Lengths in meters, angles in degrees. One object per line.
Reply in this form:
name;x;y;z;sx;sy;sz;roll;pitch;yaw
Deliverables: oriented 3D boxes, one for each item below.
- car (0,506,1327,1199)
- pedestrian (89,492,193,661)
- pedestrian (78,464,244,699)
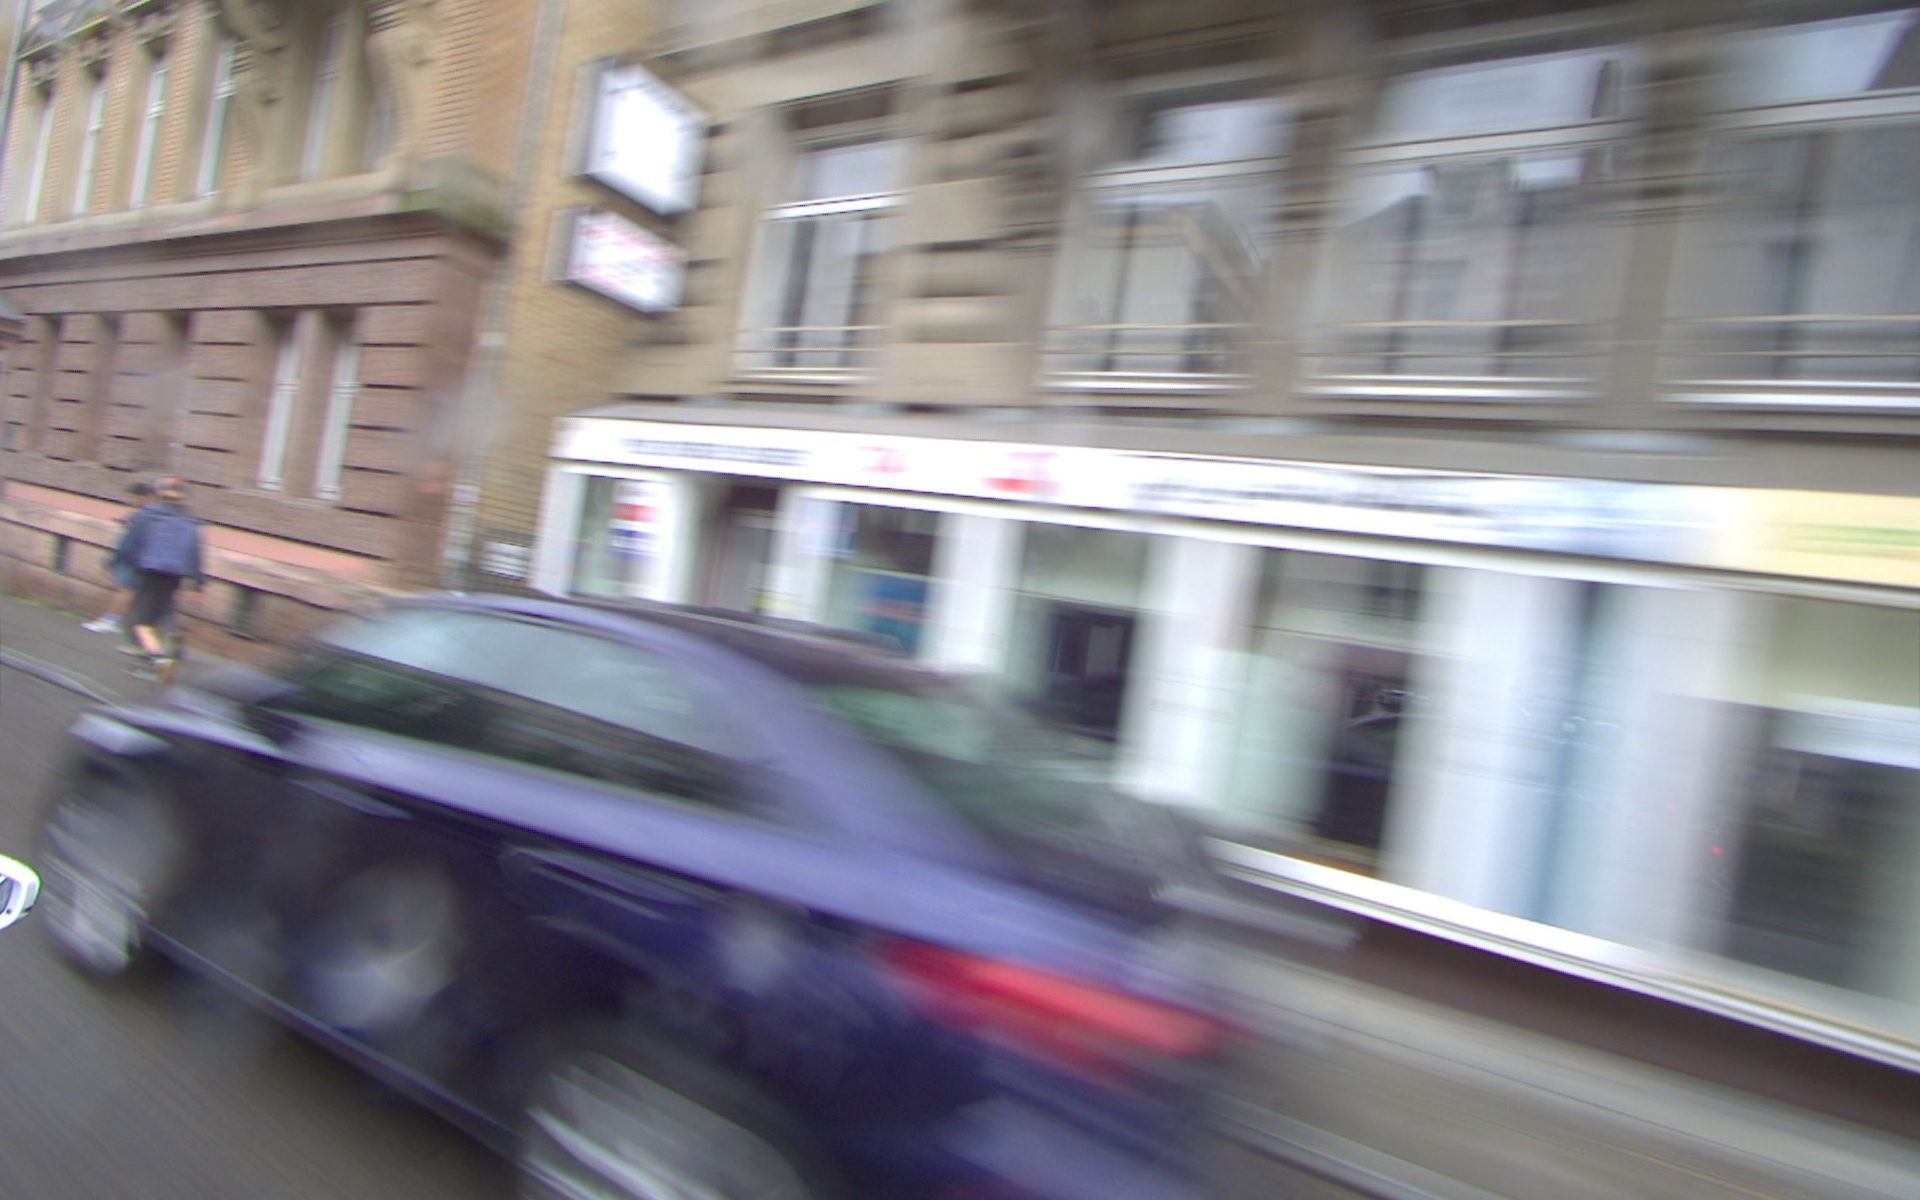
car;-1.204;0.655;3.281;4.184;1.422;1.796;6;-3;29
pedestrian;-8.124;-0.230;9.983;0.666;1.599;0.520;5;1;32
pedestrian;-6.815;-0.157;8.584;0.945;1.843;0.703;9;2;31
